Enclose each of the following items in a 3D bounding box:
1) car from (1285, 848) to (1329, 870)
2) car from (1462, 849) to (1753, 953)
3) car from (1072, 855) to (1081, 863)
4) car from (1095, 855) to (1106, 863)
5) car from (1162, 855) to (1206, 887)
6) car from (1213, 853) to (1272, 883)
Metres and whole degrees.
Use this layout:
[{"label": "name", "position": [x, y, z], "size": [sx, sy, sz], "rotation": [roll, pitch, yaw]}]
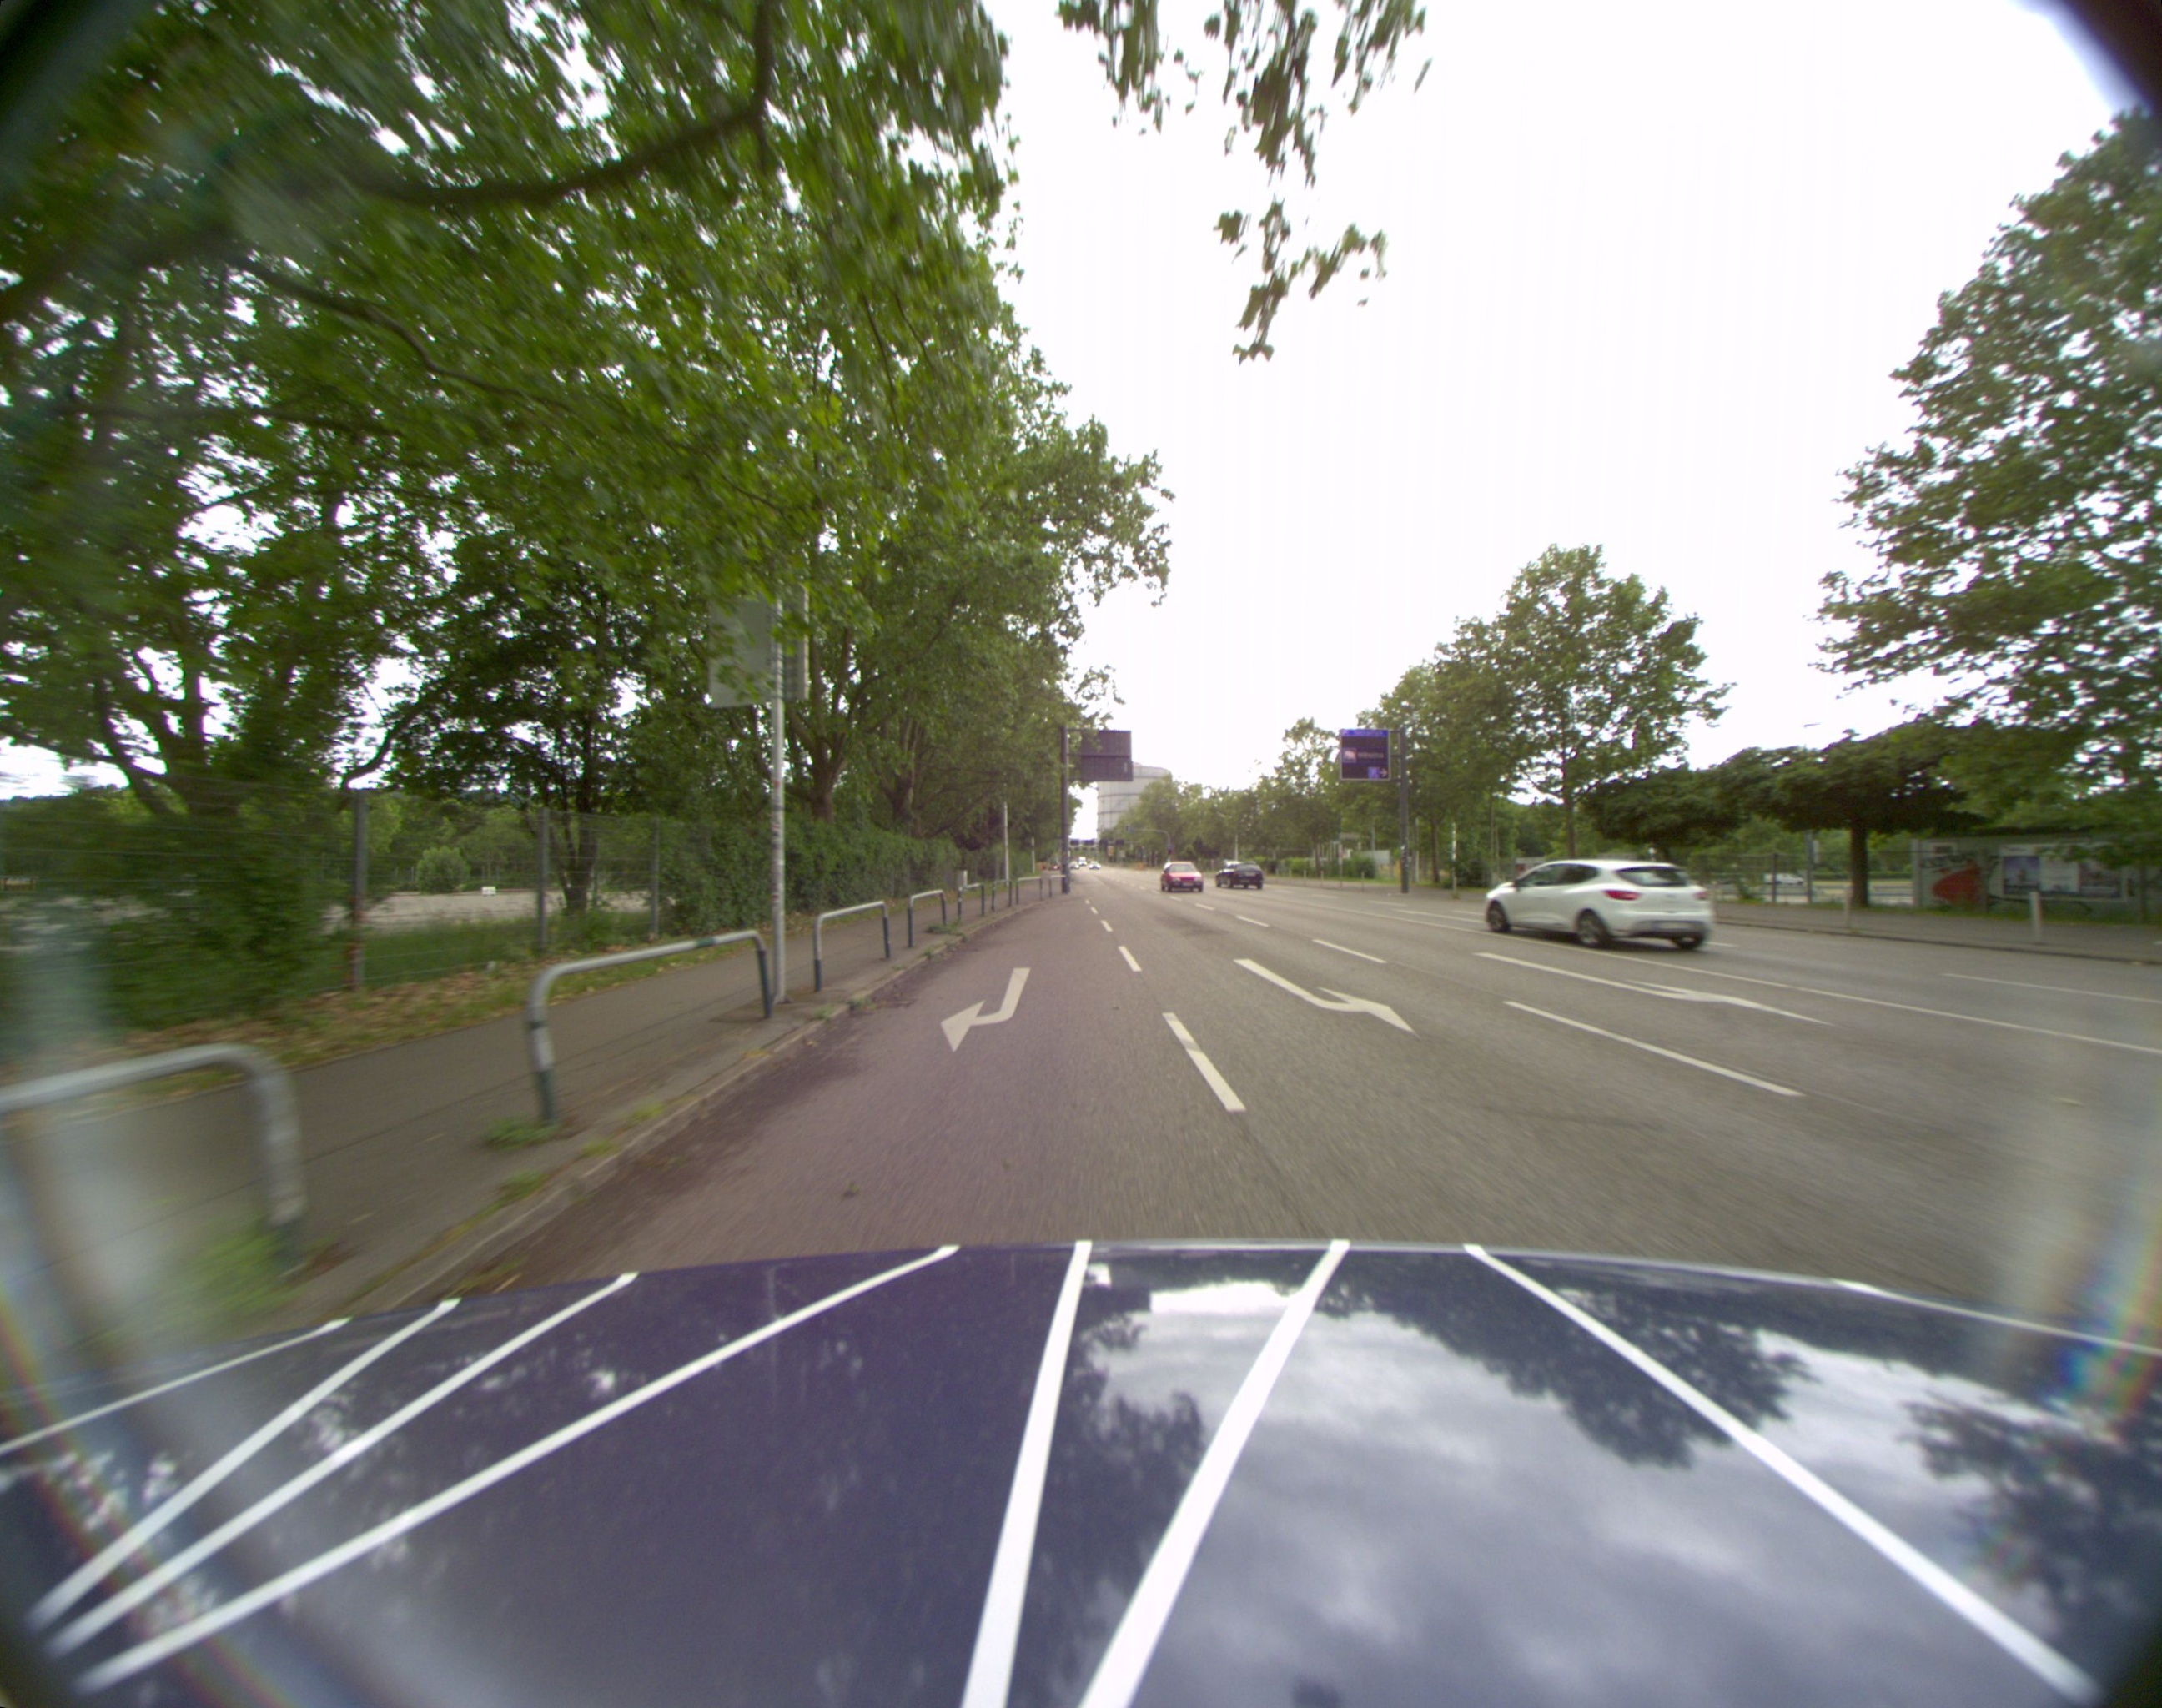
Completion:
[{"label": "car", "position": [20.807, 0.433, 70.179], "size": [2.393, 2.002, 4.633], "rotation": [0, 0, -6]}, {"label": "car", "position": [8.928, 0.707, 13.475], "size": [1.999, 1.521, 4.384], "rotation": [1, 0, -2]}, {"label": "car", "position": [-0.901, 0.973, 155.269], "size": [1.799, 1.501, 3.999], "rotation": [0, 0, -1]}, {"label": "car", "position": [3.654, 0.891, 144.690], "size": [1.799, 1.501, 3.999], "rotation": [0, 0, -1]}, {"label": "car", "position": [4.977, 0.774, 37.228], "size": [1.832, 1.443, 4.077], "rotation": [-1, 0, 4]}, {"label": "car", "position": [8.829, 0.733, 41.958], "size": [1.999, 1.521, 4.724], "rotation": [0, 0, -3]}]
